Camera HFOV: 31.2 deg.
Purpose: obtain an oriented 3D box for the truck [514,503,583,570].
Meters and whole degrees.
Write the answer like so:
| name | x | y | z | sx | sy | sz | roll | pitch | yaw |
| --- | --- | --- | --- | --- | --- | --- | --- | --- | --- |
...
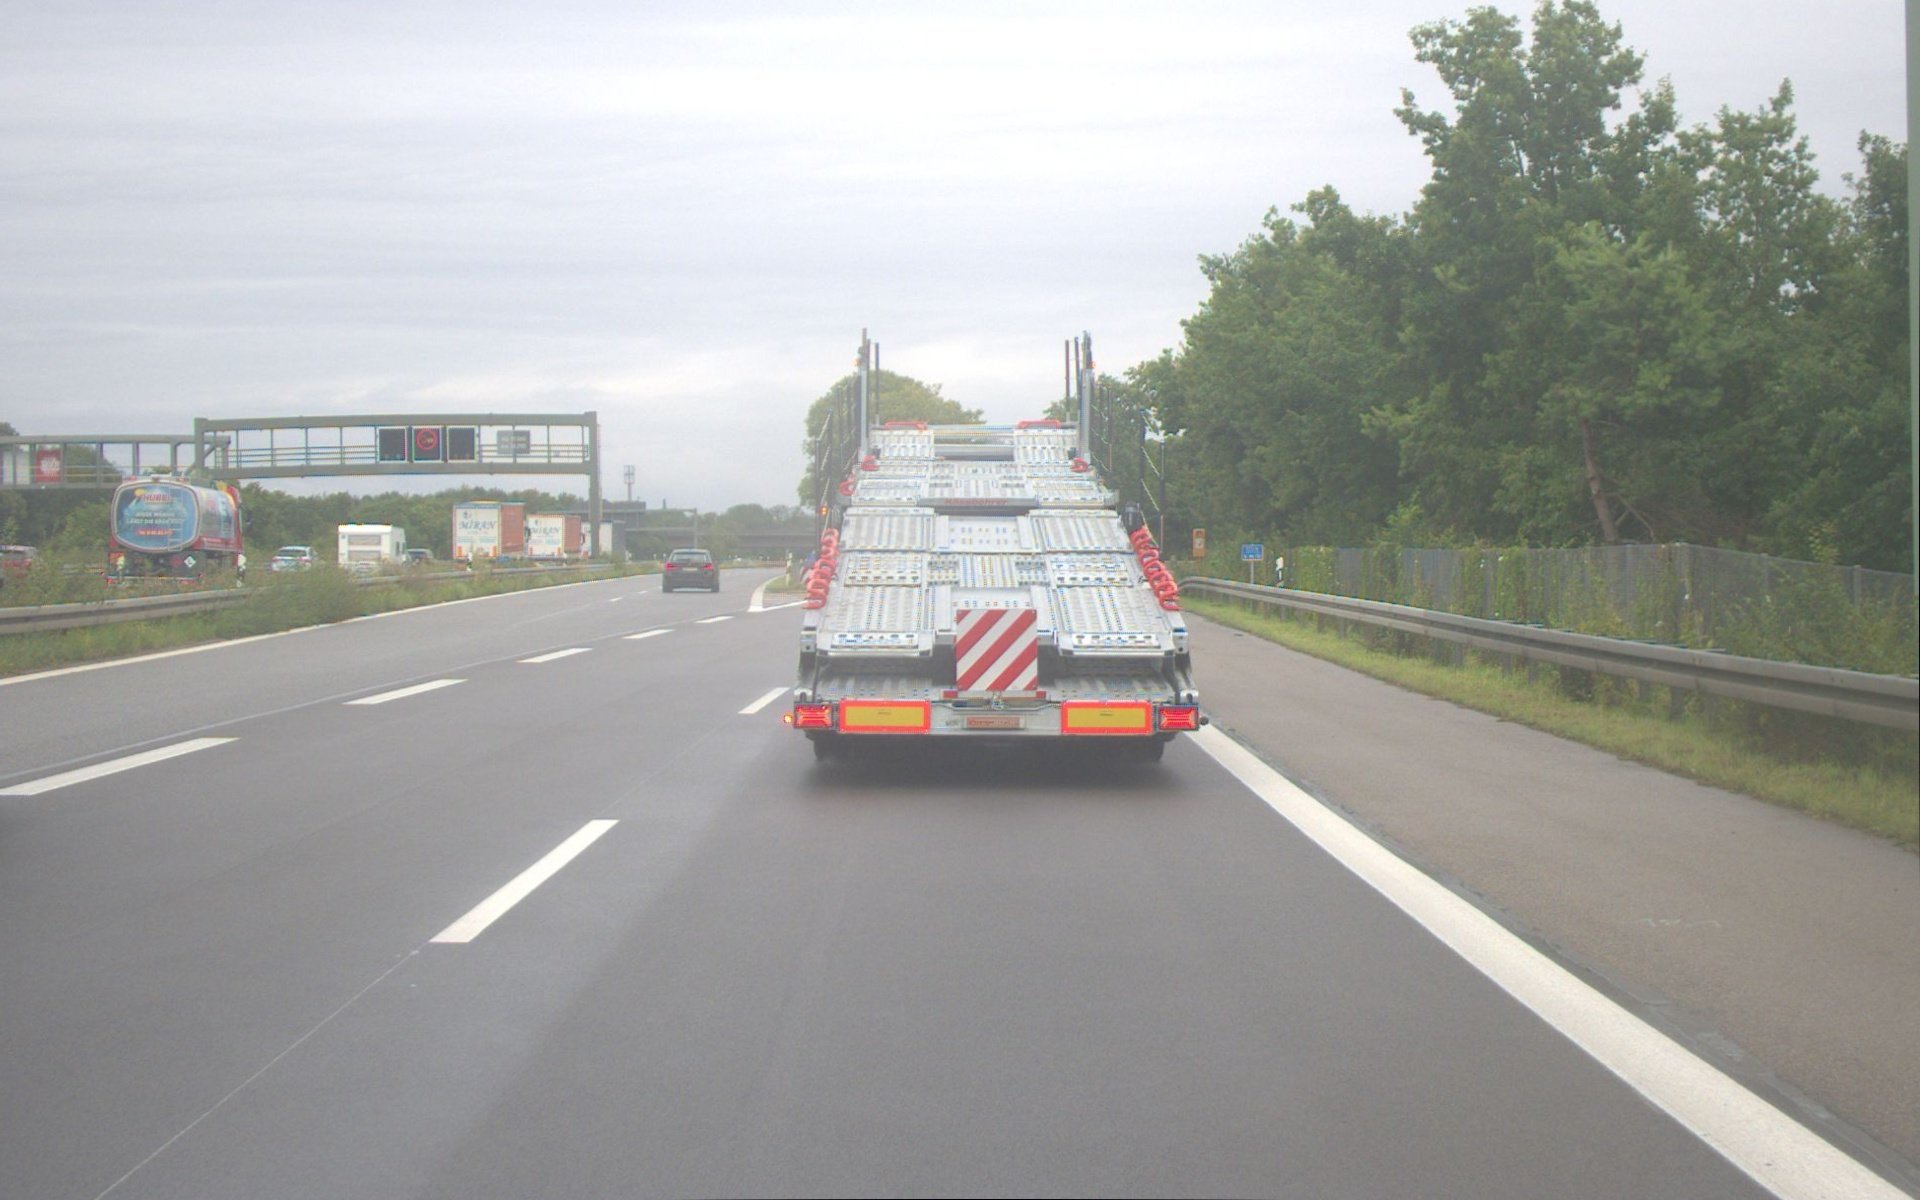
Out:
| name | x | y | z | sx | sy | sz | roll | pitch | yaw |
| --- | --- | --- | --- | --- | --- | --- | --- | --- | --- |
| truck | -28.007 | -4.314 | 234.451 | 3.733 | 4.402 | 11.898 | 1 | 1 | -2 |

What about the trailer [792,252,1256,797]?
| name | x | y | z | sx | sy | sz | roll | pitch | yaw |
| --- | --- | --- | --- | --- | --- | --- | --- | --- | --- |
| trailer | 0.340 | -0.553 | 26.119 | 2.777 | 3.273 | 10.408 | 1 | 1 | -1 |

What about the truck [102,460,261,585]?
| name | x | y | z | sx | sy | sz | roll | pitch | yaw |
| --- | --- | --- | --- | --- | --- | --- | --- | --- | --- |
| truck | -21.883 | -2.162 | 97.094 | 2.856 | 3.353 | 8.632 | 0 | 1 | -2 |

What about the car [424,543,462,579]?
| name | x | y | z | sx | sy | sz | roll | pitch | yaw |
| --- | --- | --- | --- | --- | --- | --- | --- | --- | --- |
| car | -29.554 | -2.202 | 196.545 | 1.729 | 2.007 | 4.000 | 1 | 0 | -2 |

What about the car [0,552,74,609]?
| name | x | y | z | sx | sy | sz | roll | pitch | yaw |
| --- | --- | --- | --- | --- | --- | --- | --- | --- | --- |
| car | -26.177 | -0.548 | 96.423 | 1.794 | 1.551 | 3.827 | 1 | 0 | -2 |

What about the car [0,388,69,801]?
| name | x | y | z | sx | sy | sz | roll | pitch | yaw |
| --- | --- | --- | --- | --- | --- | --- | --- | --- | --- |
| car | -6.362 | -0.022 | 17.307 | 2.372 | 2.258 | 6.257 | 1 | 1 | -3 |

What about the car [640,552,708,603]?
| name | x | y | z | sx | sy | sz | roll | pitch | yaw |
| --- | --- | --- | --- | --- | --- | --- | --- | --- | --- |
| car | -9.361 | -0.741 | 112.887 | 1.961 | 1.632 | 5.626 | 1 | 0 | -2 |

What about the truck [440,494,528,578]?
| name | x | y | z | sx | sy | sz | roll | pitch | yaw |
| --- | --- | --- | --- | --- | --- | --- | --- | --- | --- |
| truck | -25.960 | -3.469 | 187.958 | 3.733 | 4.402 | 10.196 | 1 | 1 | -2 |

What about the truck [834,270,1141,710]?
| name | x | y | z | sx | sy | sz | roll | pitch | yaw |
| --- | --- | --- | --- | --- | --- | --- | --- | --- | --- |
| truck | 0.233 | -1.087 | 35.813 | 2.738 | 3.954 | 9.129 | 1 | 1 | 0 |

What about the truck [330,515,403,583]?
| name | x | y | z | sx | sy | sz | roll | pitch | yaw |
| --- | --- | --- | --- | --- | --- | --- | --- | --- | --- |
| truck | -24.265 | -2.100 | 140.796 | 2.243 | 2.695 | 5.280 | 1 | 1 | -2 |

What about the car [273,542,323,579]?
| name | x | y | z | sx | sy | sz | roll | pitch | yaw |
| --- | --- | --- | --- | --- | --- | --- | --- | --- | --- |
| car | -28.522 | -1.714 | 148.123 | 1.682 | 1.525 | 4.001 | 1 | 1 | -5 |
